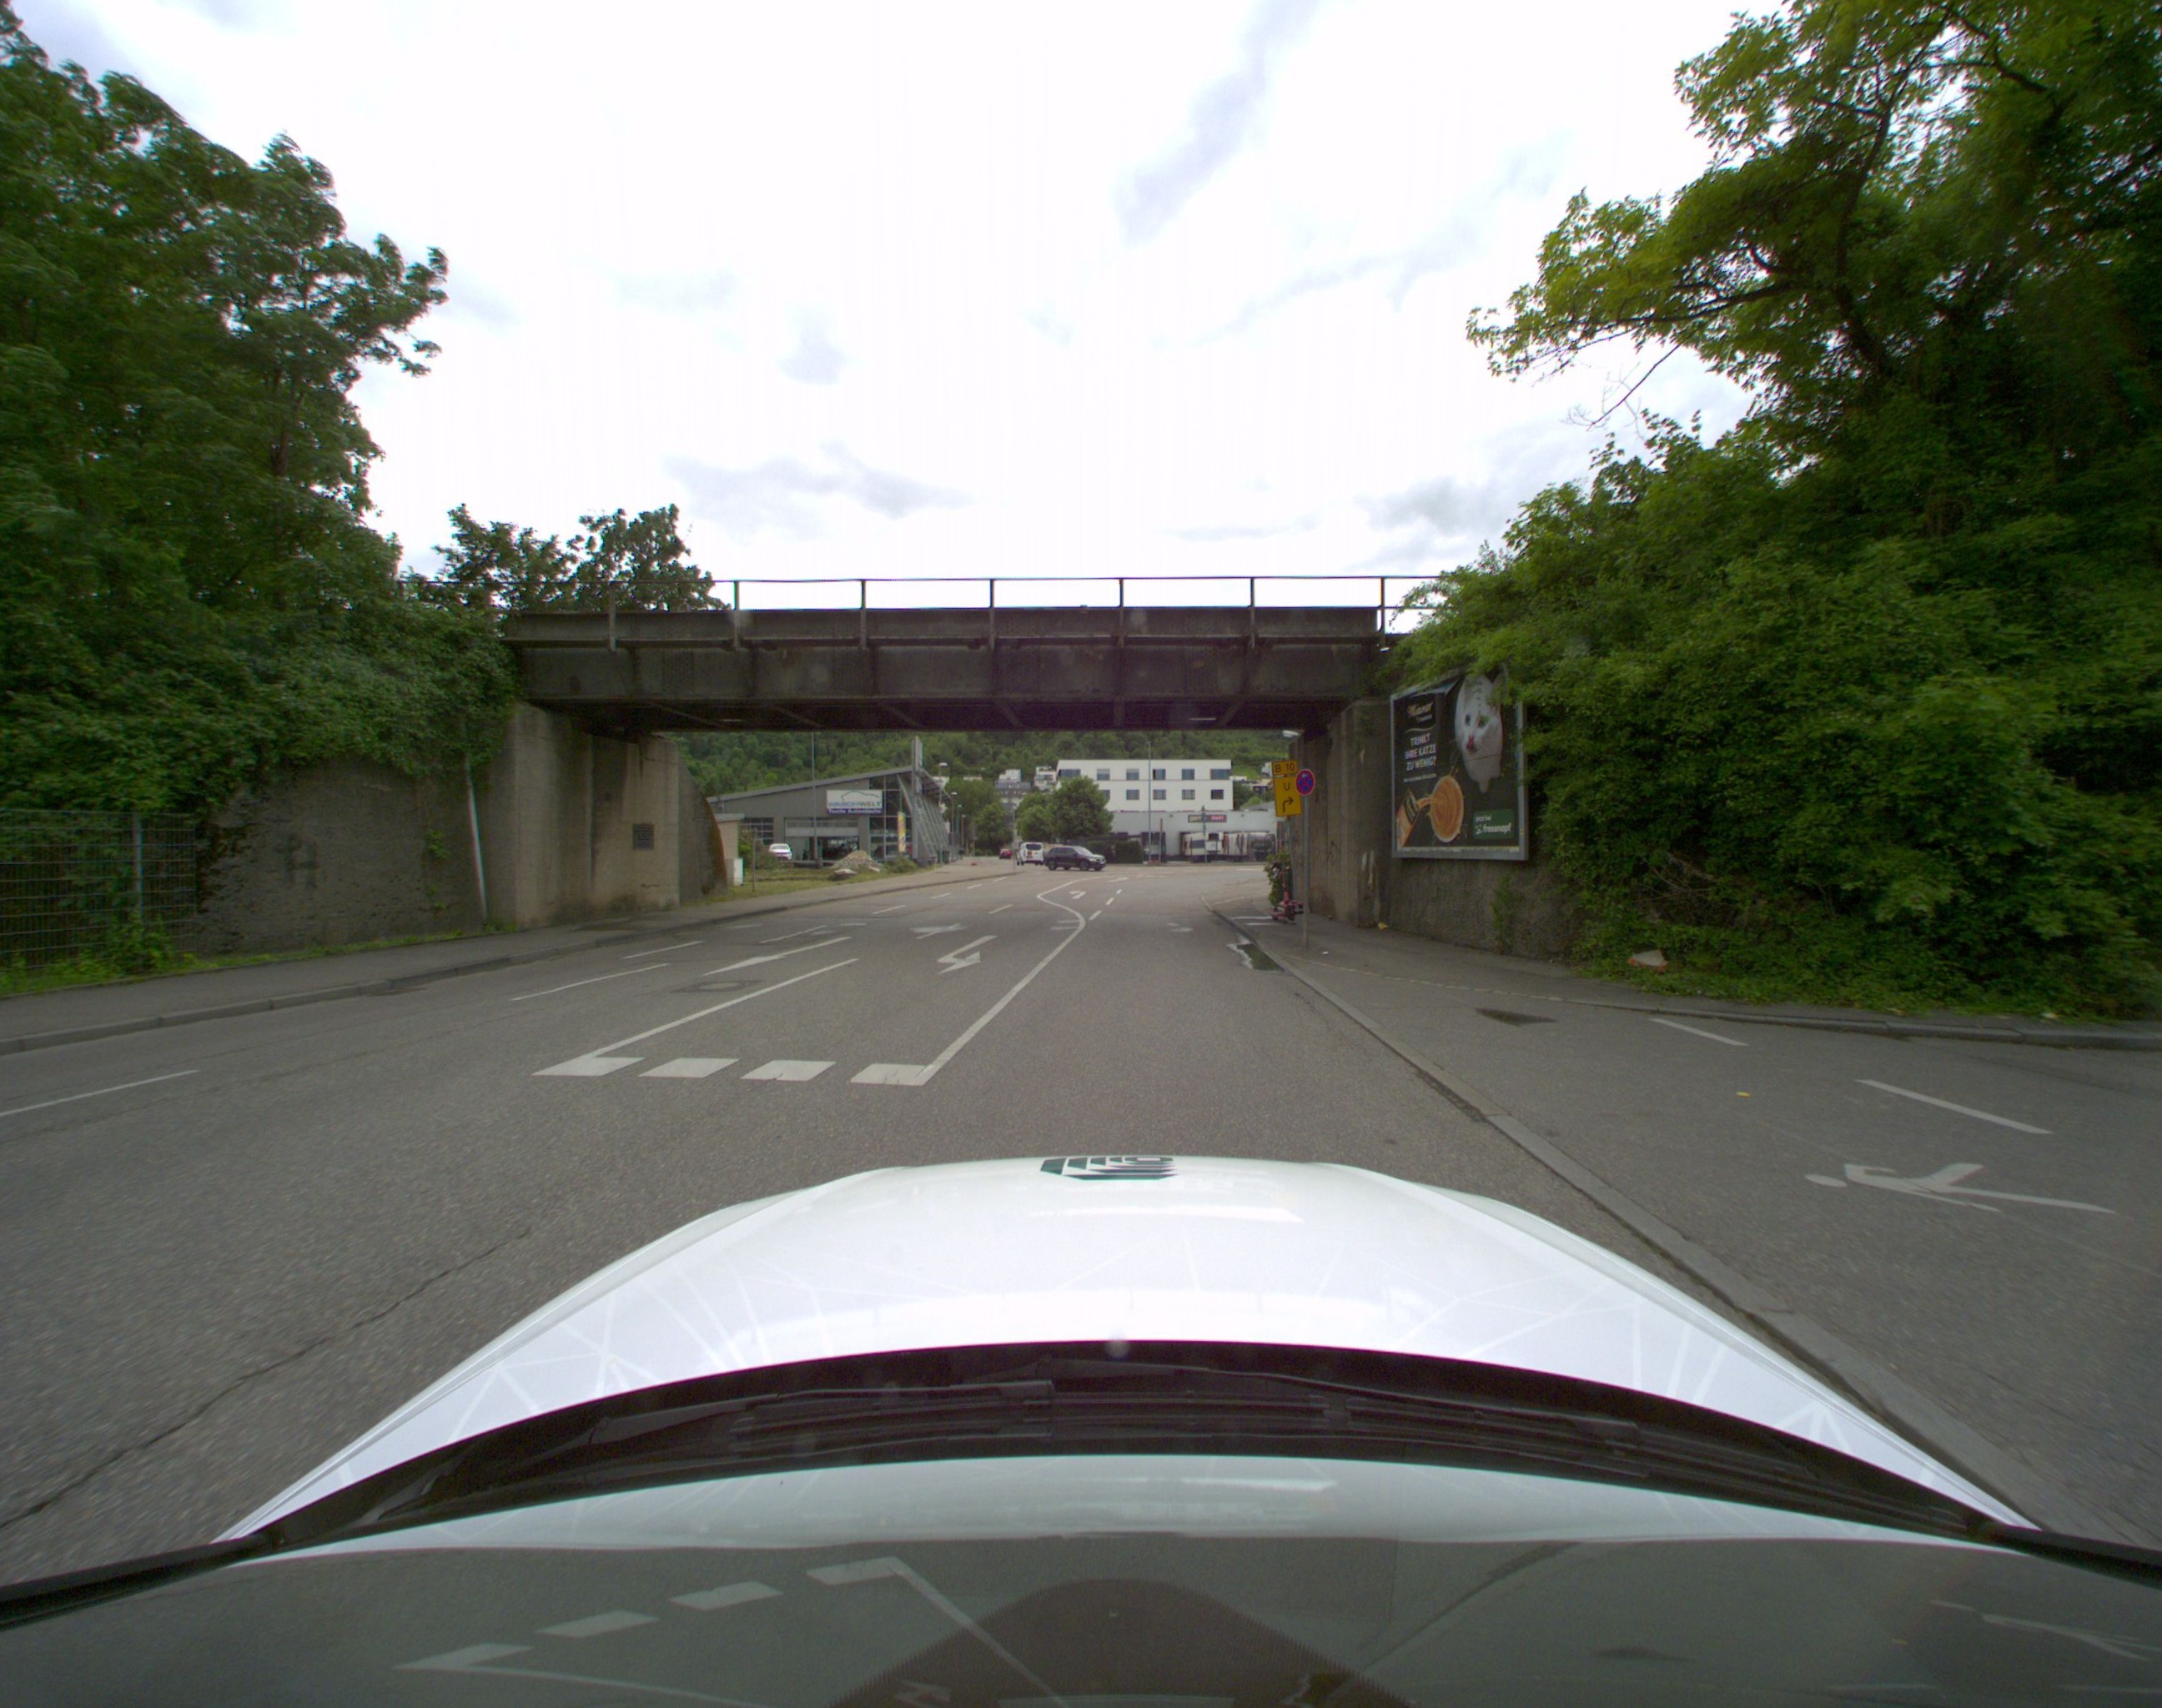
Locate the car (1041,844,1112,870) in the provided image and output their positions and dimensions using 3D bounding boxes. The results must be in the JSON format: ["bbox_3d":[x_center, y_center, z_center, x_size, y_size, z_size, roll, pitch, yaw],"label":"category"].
[{"bbox_3d":[-0.333,0.193,54.519,4.314,1.684,2.013,-1,0,33],"label":"car"}]

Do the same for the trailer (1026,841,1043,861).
[{"bbox_3d":[-6.761,-0.456,118.171,2.276,2.953,3.991,0,1,-6],"label":"trailer"}]

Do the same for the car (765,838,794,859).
[{"bbox_3d":[-22.956,-0.384,62.013,2.001,1.535,3.973,0,0,-21],"label":"car"}]

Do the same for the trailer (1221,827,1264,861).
[{"bbox_3d":[21.253,-1.260,107.699,2.778,4.301,11.166,0,0,-4],"label":"trailer"}]

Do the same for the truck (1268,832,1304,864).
[{"bbox_3d":[25.654,-0.697,102.110,2.787,3.928,5.917,0,0,-4],"label":"truck"}]

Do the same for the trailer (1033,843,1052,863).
[{"bbox_3d":[-4.534,-0.177,96.247,1.991,2.343,3.991,0,1,-6],"label":"trailer"}]

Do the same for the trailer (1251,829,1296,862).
[{"bbox_3d":[25.284,-1.106,107.651,2.778,4.077,10.980,0,0,-4],"label":"trailer"}]

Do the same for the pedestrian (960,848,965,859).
[{"bbox_3d":[-17.976,-0.122,123.641,0.627,1.673,0.755,0,-1,-10],"label":"pedestrian"}]

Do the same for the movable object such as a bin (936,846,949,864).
[{"bbox_3d":[-13.531,0.088,79.627,1.140,1.757,1.057,0,0,-5],"label":"movable object such as a bin"}]

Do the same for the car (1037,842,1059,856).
[{"bbox_3d":[-3.673,-0.546,90.115,1.992,1.508,4.170,0,1,-8],"label":"car"}]

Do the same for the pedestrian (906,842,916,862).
[{"bbox_3d":[-15.917,-0.180,76.377,0.828,1.868,0.714,-1,0,-18],"label":"pedestrian"}]

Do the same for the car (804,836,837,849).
[{"bbox_3d":[-34.039,-1.472,106.415,3.996,1.728,1.989,0,0,-17],"label":"car"}]

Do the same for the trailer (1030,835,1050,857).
[{"bbox_3d":[-7.131,-1.397,140.586,3.065,3.759,4.923,0,1,-6],"label":"trailer"}]

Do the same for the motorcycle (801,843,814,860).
[{"bbox_3d":[-27.959,-0.248,83.166,0.839,1.710,2.357,0,0,-8],"label":"motorcycle"}]

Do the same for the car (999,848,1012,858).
[{"bbox_3d":[-12.740,-0.107,137.525,1.990,1.684,3.994,0,0,-4],"label":"car"}]

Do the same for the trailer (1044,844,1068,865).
[{"bbox_3d":[-2.448,0.031,78.573,1.991,2.013,3.991,0,1,-6],"label":"trailer"}]

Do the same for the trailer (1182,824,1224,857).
[{"bbox_3d":[15.819,-1.636,106.592,3.075,4.077,11.393,0,0,-4],"label":"trailer"}]

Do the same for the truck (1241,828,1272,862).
[{"bbox_3d":[21.696,-1.096,101.030,2.787,4.040,4.159,0,0,-4],"label":"truck"}]

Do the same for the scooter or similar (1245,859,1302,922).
[{"bbox_3d":[4.091,0.749,17.426,0.504,1.236,1.664,-4,0,-9],"label":"scooter or similar"}]

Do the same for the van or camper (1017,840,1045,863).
[{"bbox_3d":[-4.561,-0.211,73.682,2.099,2.083,4.190,0,0,-10],"label":"van or camper"}]
